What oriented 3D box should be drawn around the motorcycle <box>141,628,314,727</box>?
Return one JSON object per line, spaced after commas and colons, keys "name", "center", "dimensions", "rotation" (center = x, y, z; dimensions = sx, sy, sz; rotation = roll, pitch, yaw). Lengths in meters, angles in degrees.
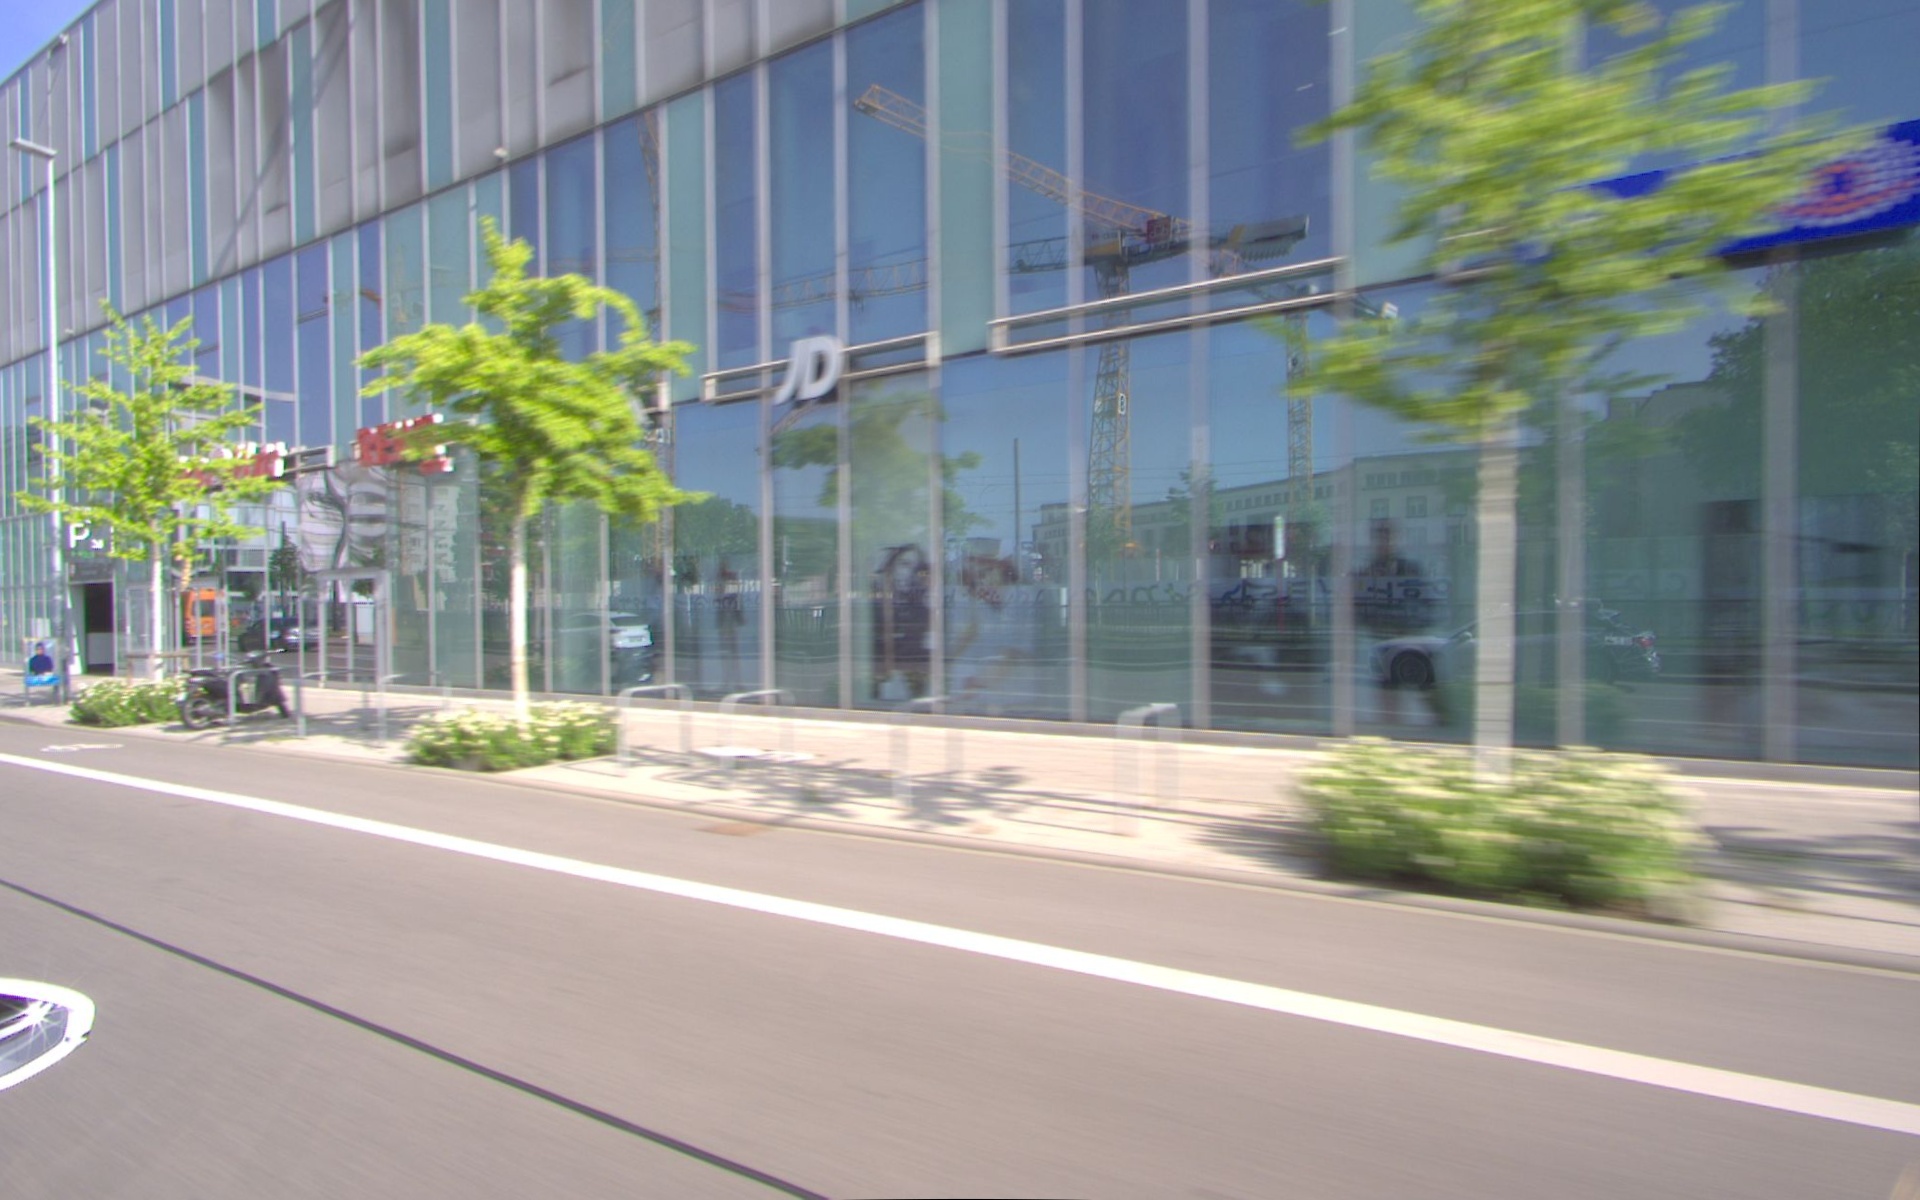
{"name": "motorcycle", "center": [-11.064, 1.124, 15.222], "dimensions": [0.852, 1.367, 1.970], "rotation": [0, 0, 21]}
